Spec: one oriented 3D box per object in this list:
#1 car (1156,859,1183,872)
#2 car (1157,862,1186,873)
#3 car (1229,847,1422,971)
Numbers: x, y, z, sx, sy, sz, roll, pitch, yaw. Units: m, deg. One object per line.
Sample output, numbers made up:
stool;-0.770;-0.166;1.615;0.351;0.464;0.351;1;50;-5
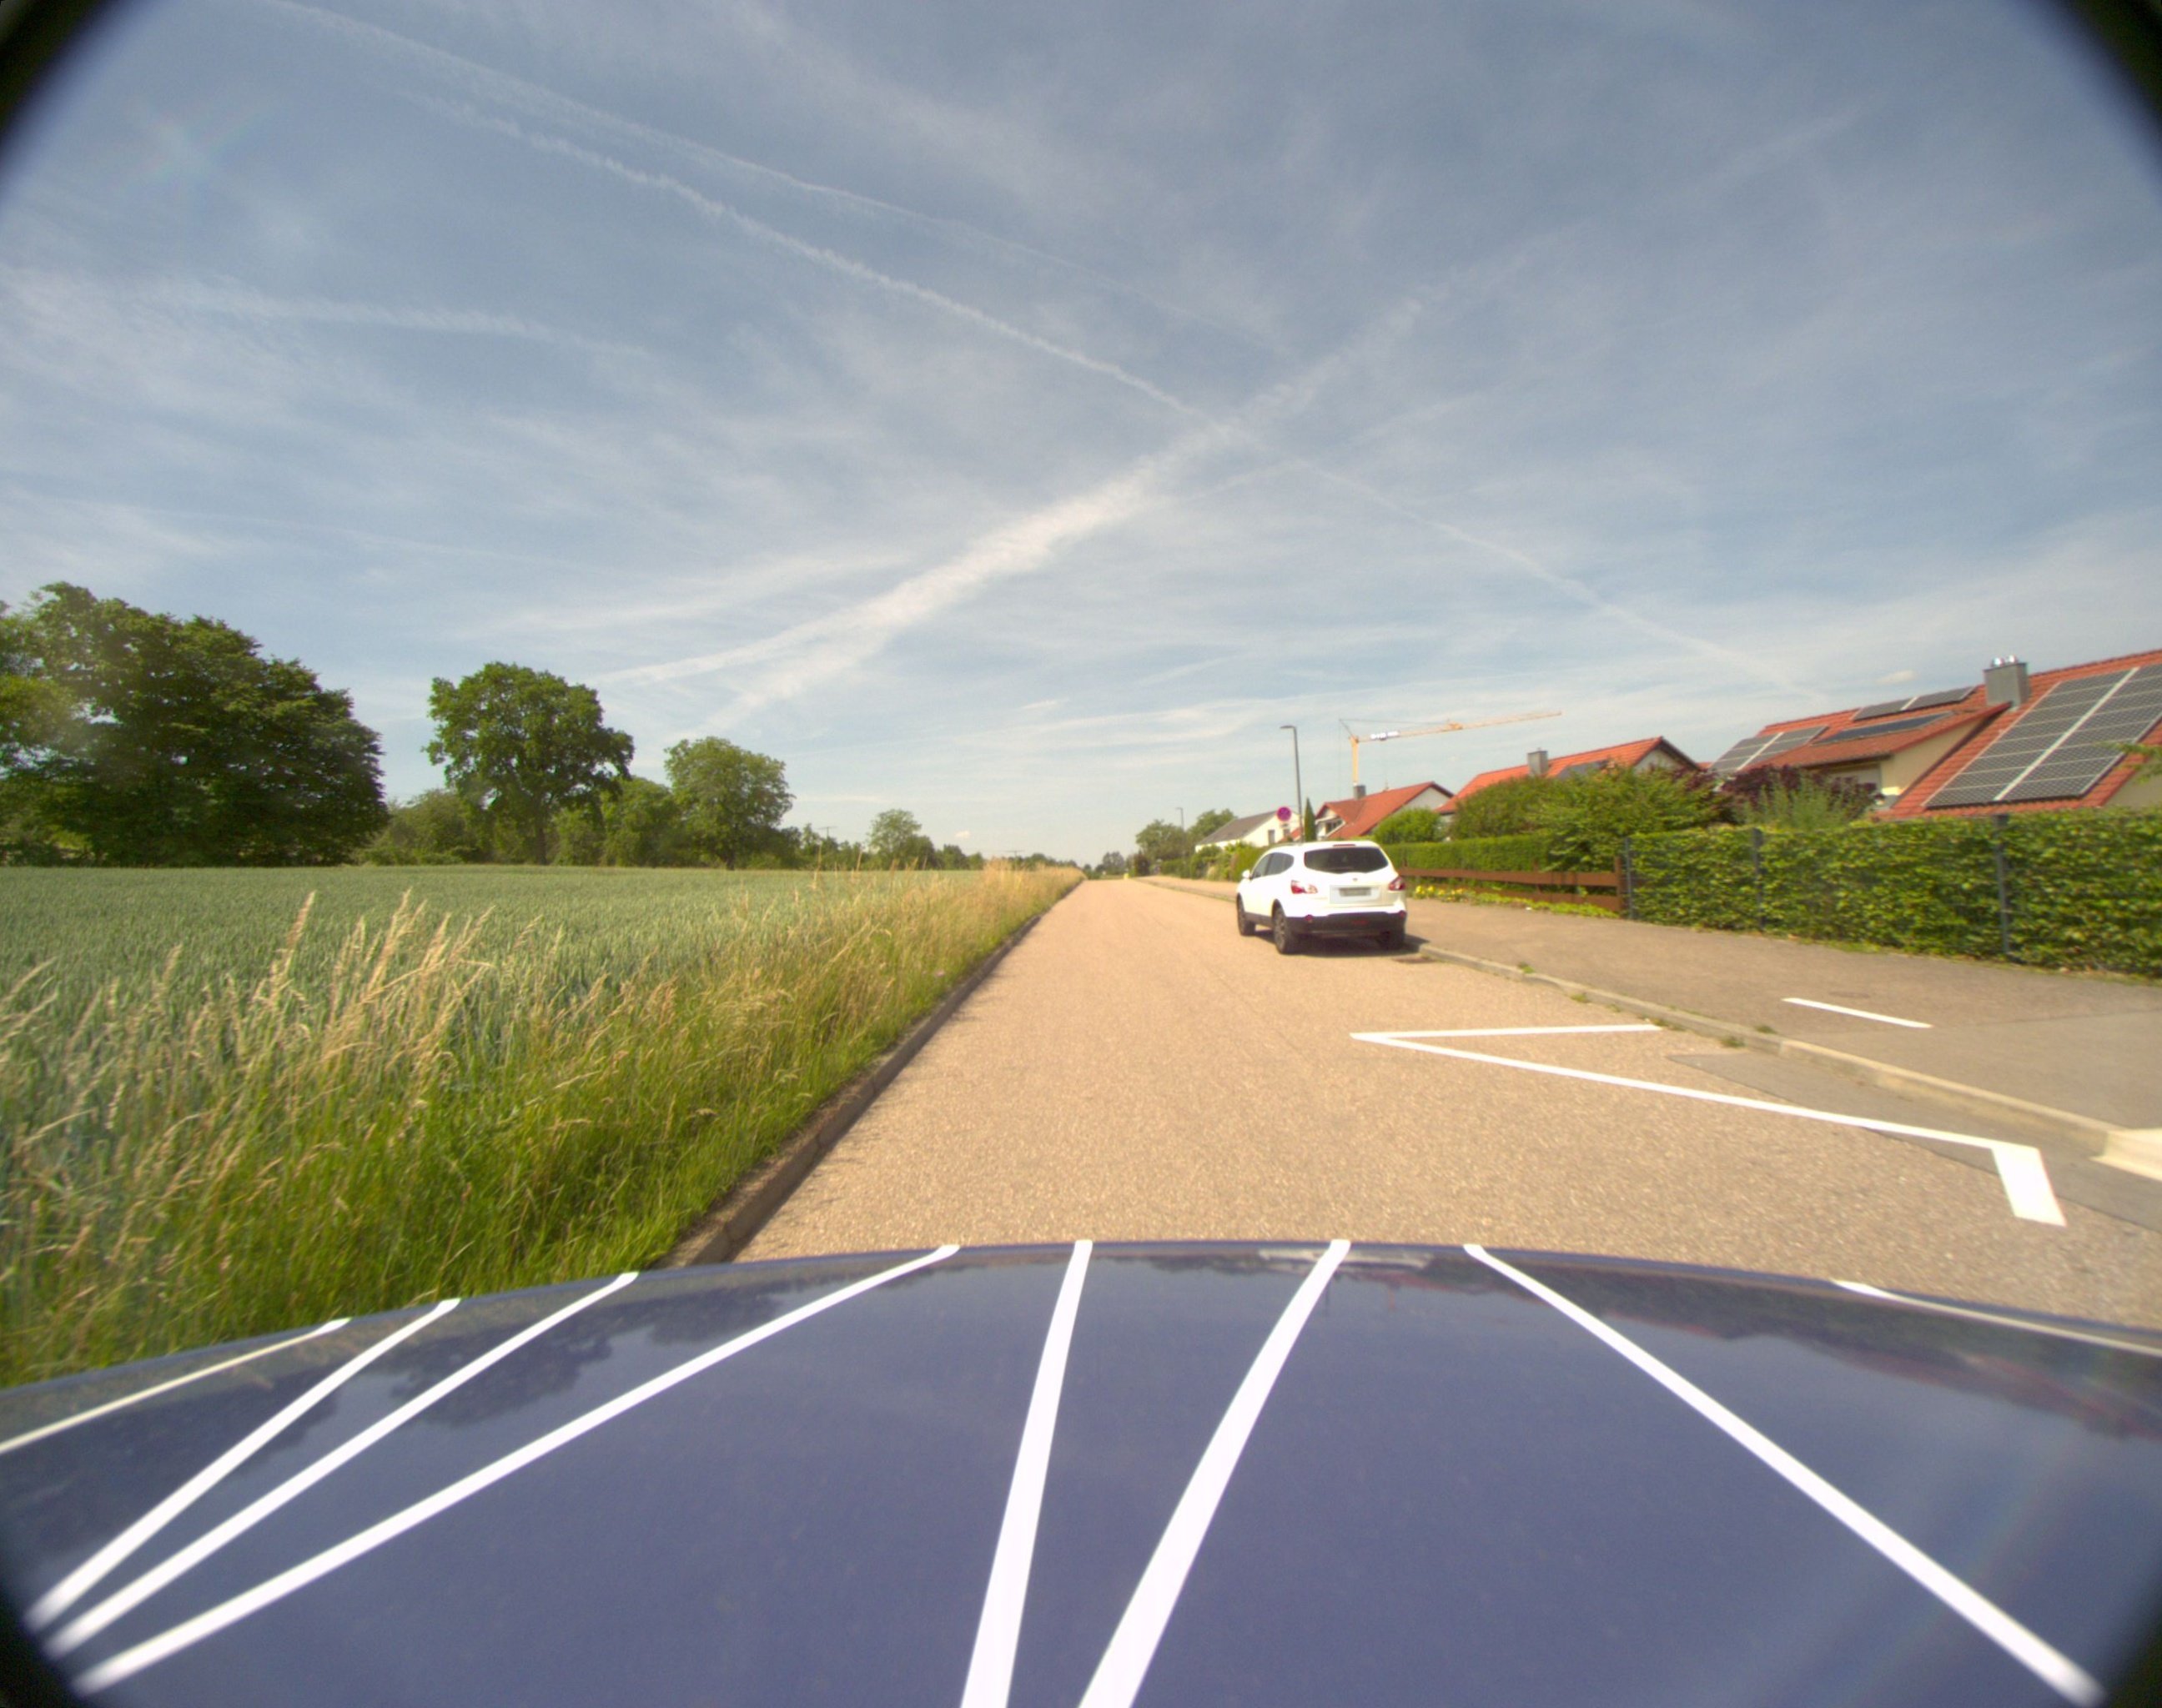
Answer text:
car;13.526;1.778;116.441;3.884;1.801;1.801;-4;-1;6
car;12.849;1.902;107.905;3.884;1.313;1.802;-3;-1;6
car;3.737;0.752;12.484;1.738;1.623;4.352;-2;0;0
